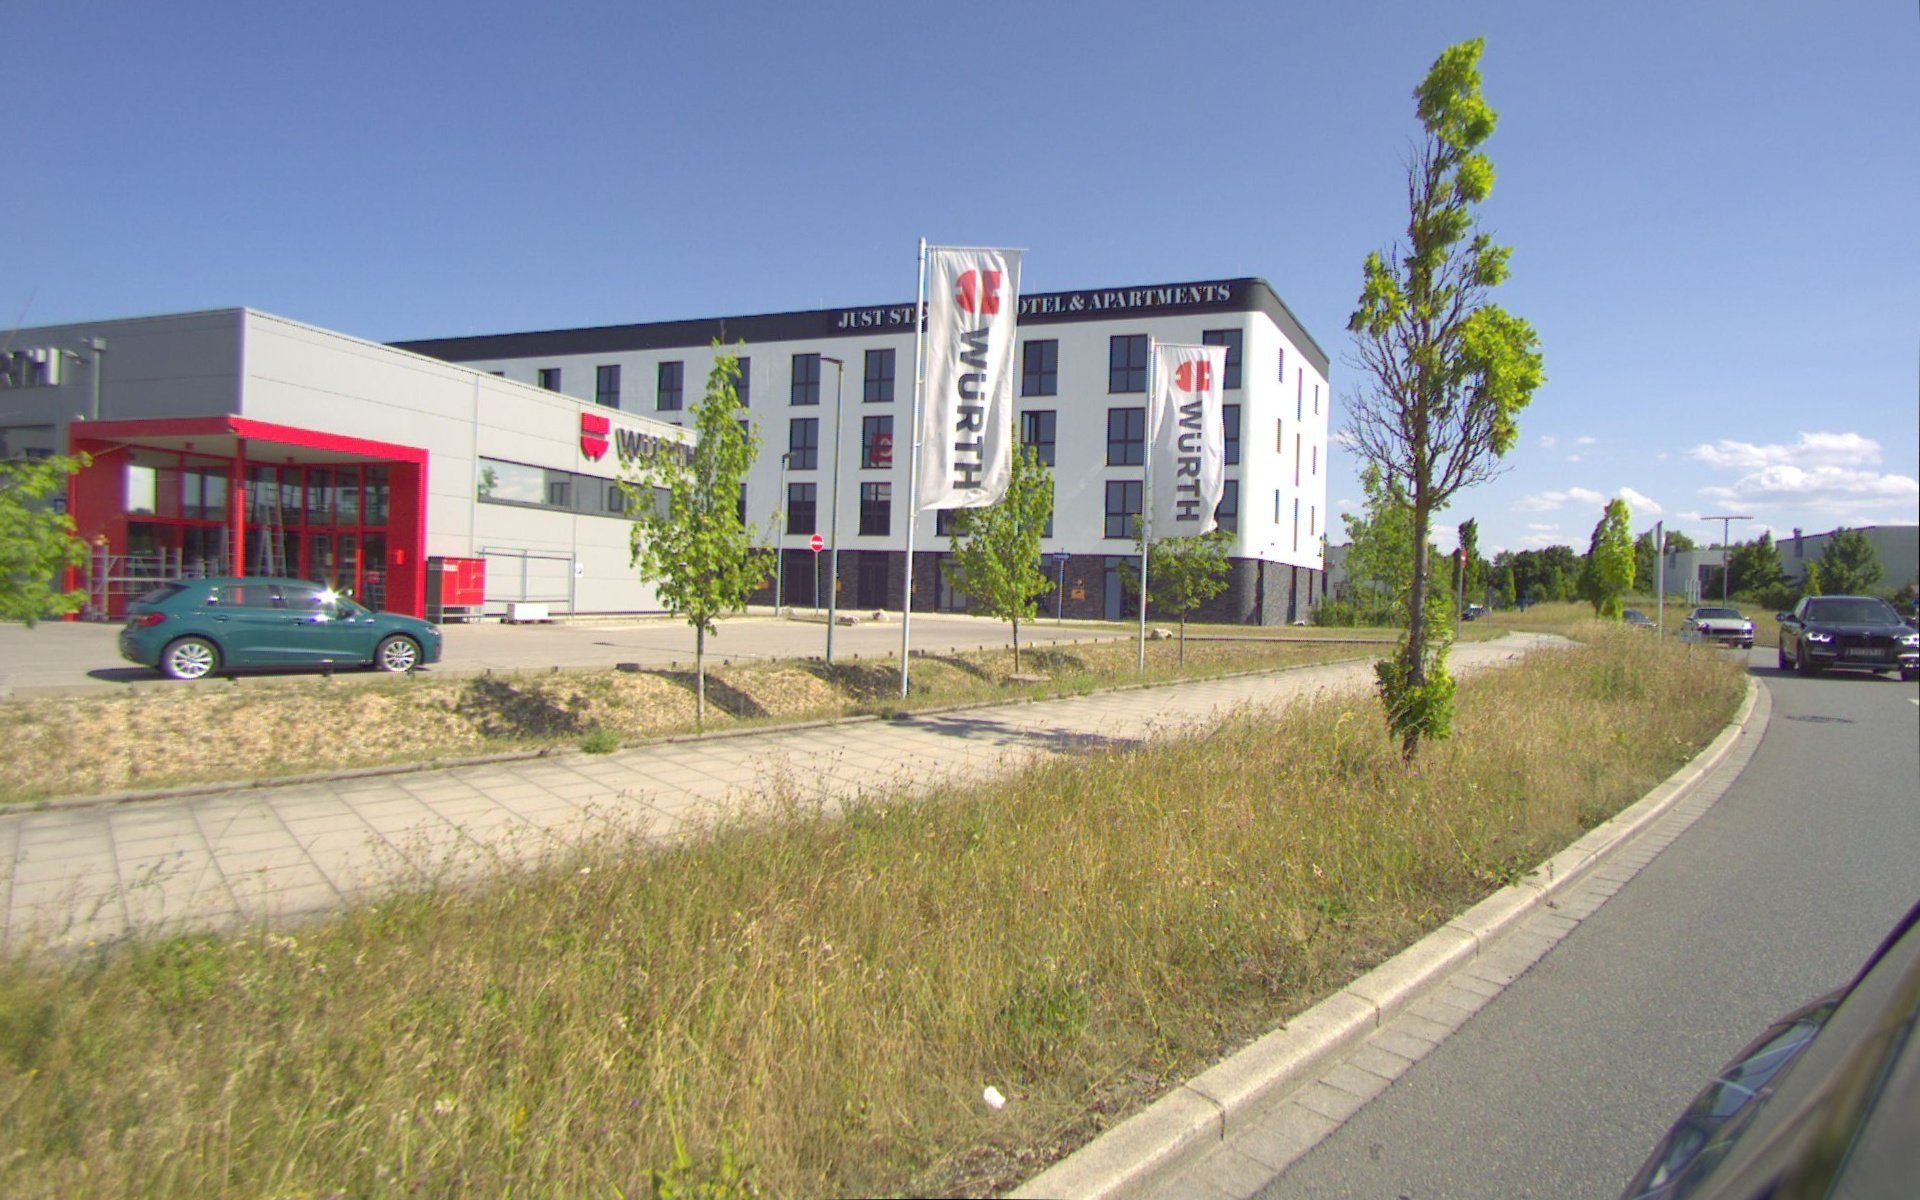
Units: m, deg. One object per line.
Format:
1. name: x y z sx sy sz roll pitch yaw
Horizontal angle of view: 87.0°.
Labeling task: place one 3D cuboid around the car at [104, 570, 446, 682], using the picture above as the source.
1. car: -9.919 0.327 14.869 1.514 1.425 3.936 2 1 44

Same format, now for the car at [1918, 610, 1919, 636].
1. car: 62.585 1.497 64.771 1.753 1.627 4.449 2 1 45

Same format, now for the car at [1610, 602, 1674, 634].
1. car: 40.403 1.047 60.089 1.732 1.709 4.362 2 1 14

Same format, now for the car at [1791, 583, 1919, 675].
1. car: 18.722 0.602 20.955 1.889 1.701 4.411 1 -1 34

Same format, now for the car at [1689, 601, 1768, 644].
1. car: 31.871 0.940 42.120 2.099 1.664 4.723 1 -1 31
